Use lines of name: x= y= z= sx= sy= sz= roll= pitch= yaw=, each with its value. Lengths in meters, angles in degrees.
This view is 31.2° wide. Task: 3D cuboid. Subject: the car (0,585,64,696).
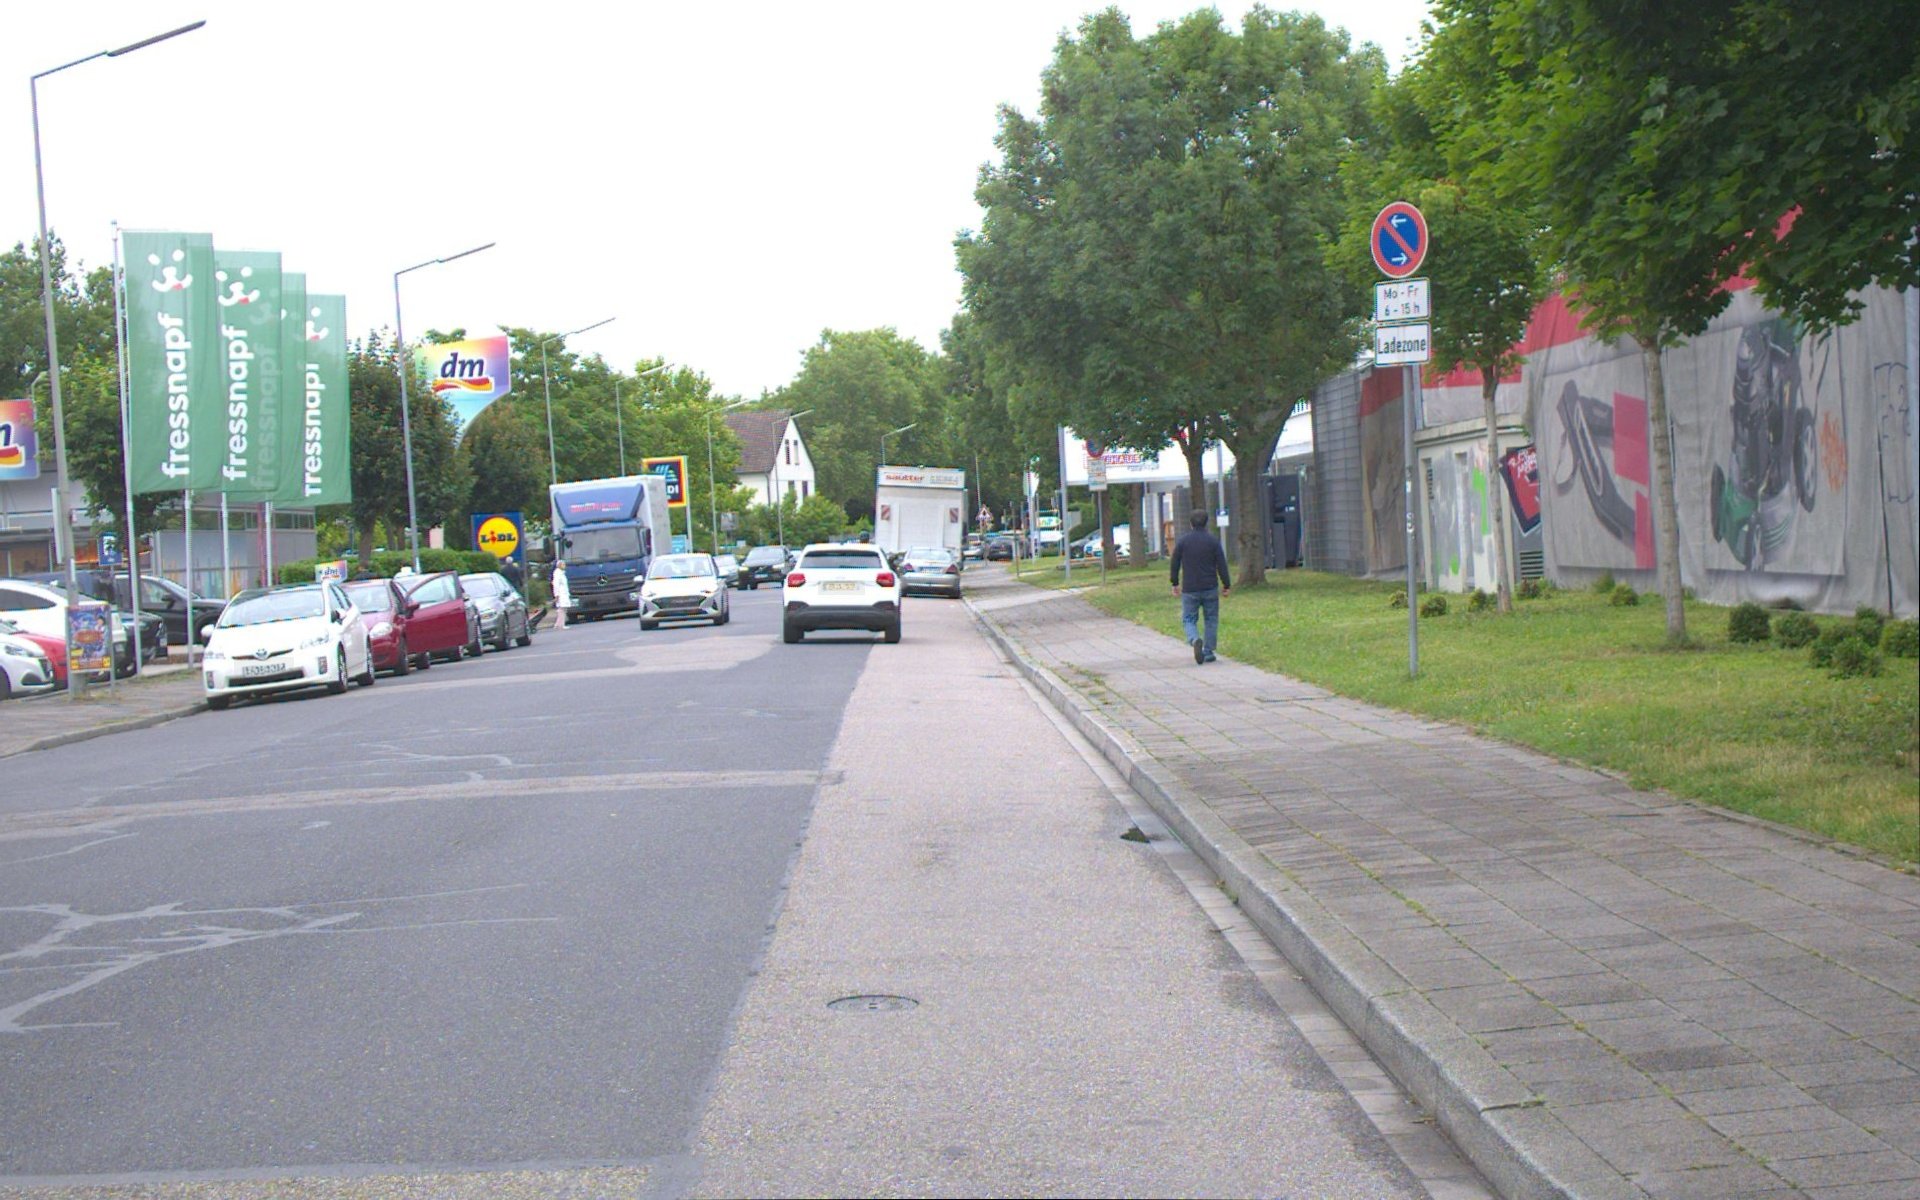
car: x=-14.666 y=0.646 z=47.416 sx=4.202 sy=1.458 sz=1.953 roll=-3 pitch=1 yaw=-8

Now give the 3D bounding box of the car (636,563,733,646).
car: x=-5.583 y=0.063 z=69.990 sx=1.599 sy=1.523 sz=3.528 roll=-5 pitch=1 yaw=0

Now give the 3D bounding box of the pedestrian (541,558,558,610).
pedestrian: x=-12.144 y=-0.469 z=101.717 sx=0.401 sy=1.526 sz=0.485 roll=-4 pitch=1 yaw=-7

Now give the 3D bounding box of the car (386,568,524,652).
car: x=-9.247 y=0.160 z=63.238 sx=1.898 sy=1.362 sz=4.000 roll=-3 pitch=1 yaw=0

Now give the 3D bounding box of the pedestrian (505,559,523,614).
pedestrian: x=-12.572 y=-0.377 z=96.856 sx=0.401 sy=1.526 sz=0.485 roll=-4 pitch=1 yaw=-7

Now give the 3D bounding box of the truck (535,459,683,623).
truck: x=-9.199 y=-1.569 z=90.729 sx=2.973 sy=3.942 sz=6.405 roll=-5 pitch=1 yaw=0

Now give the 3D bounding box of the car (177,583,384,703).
car: x=-8.895 y=0.536 z=45.332 sx=1.898 sy=1.362 sz=4.000 roll=-3 pitch=1 yaw=0

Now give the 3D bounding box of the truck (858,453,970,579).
truck: x=-1.490 y=-2.470 z=105.073 sx=3.135 sy=3.572 sz=10.051 roll=-2 pitch=0 yaw=-2

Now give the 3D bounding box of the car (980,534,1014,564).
car: x=2.139 y=-2.992 z=200.025 sx=1.886 sy=1.677 sz=4.254 roll=-1 pitch=1 yaw=0

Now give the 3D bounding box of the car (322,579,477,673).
car: x=-9.283 y=0.400 z=57.224 sx=1.898 sy=1.362 sz=4.000 roll=-3 pitch=1 yaw=0

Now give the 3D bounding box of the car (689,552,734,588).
car: x=-10.077 y=-1.212 z=139.363 sx=1.623 sy=1.370 sz=3.453 roll=-2 pitch=0 yaw=-2

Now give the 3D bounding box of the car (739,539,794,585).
car: x=-7.518 y=-1.470 z=133.903 sx=1.993 sy=1.678 sz=4.000 roll=-2 pitch=0 yaw=-2

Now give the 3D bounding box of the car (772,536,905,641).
car: x=-1.845 y=-0.216 z=53.434 sx=1.886 sy=1.526 sz=4.254 roll=-1 pitch=1 yaw=0

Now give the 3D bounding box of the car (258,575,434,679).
car: x=-9.179 y=0.378 z=51.710 sx=1.898 sy=1.362 sz=4.000 roll=-3 pitch=1 yaw=0

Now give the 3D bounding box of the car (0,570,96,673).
car: x=-15.439 y=0.403 z=52.293 sx=4.134 sy=1.458 sz=1.899 roll=-3 pitch=1 yaw=-6

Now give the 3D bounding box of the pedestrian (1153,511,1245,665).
pedestrian: x=2.596 y=-0.133 z=37.456 sx=0.919 sy=1.629 sz=0.852 roll=-2 pitch=0 yaw=1

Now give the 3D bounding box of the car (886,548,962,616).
car: x=-1.022 y=-0.497 z=96.061 sx=1.993 sy=1.800 sz=4.000 roll=-2 pitch=0 yaw=-2

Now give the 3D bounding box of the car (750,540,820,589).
car: x=-5.412 y=-1.119 z=106.697 sx=1.937 sy=1.362 sz=4.000 roll=-4 pitch=1 yaw=-1
